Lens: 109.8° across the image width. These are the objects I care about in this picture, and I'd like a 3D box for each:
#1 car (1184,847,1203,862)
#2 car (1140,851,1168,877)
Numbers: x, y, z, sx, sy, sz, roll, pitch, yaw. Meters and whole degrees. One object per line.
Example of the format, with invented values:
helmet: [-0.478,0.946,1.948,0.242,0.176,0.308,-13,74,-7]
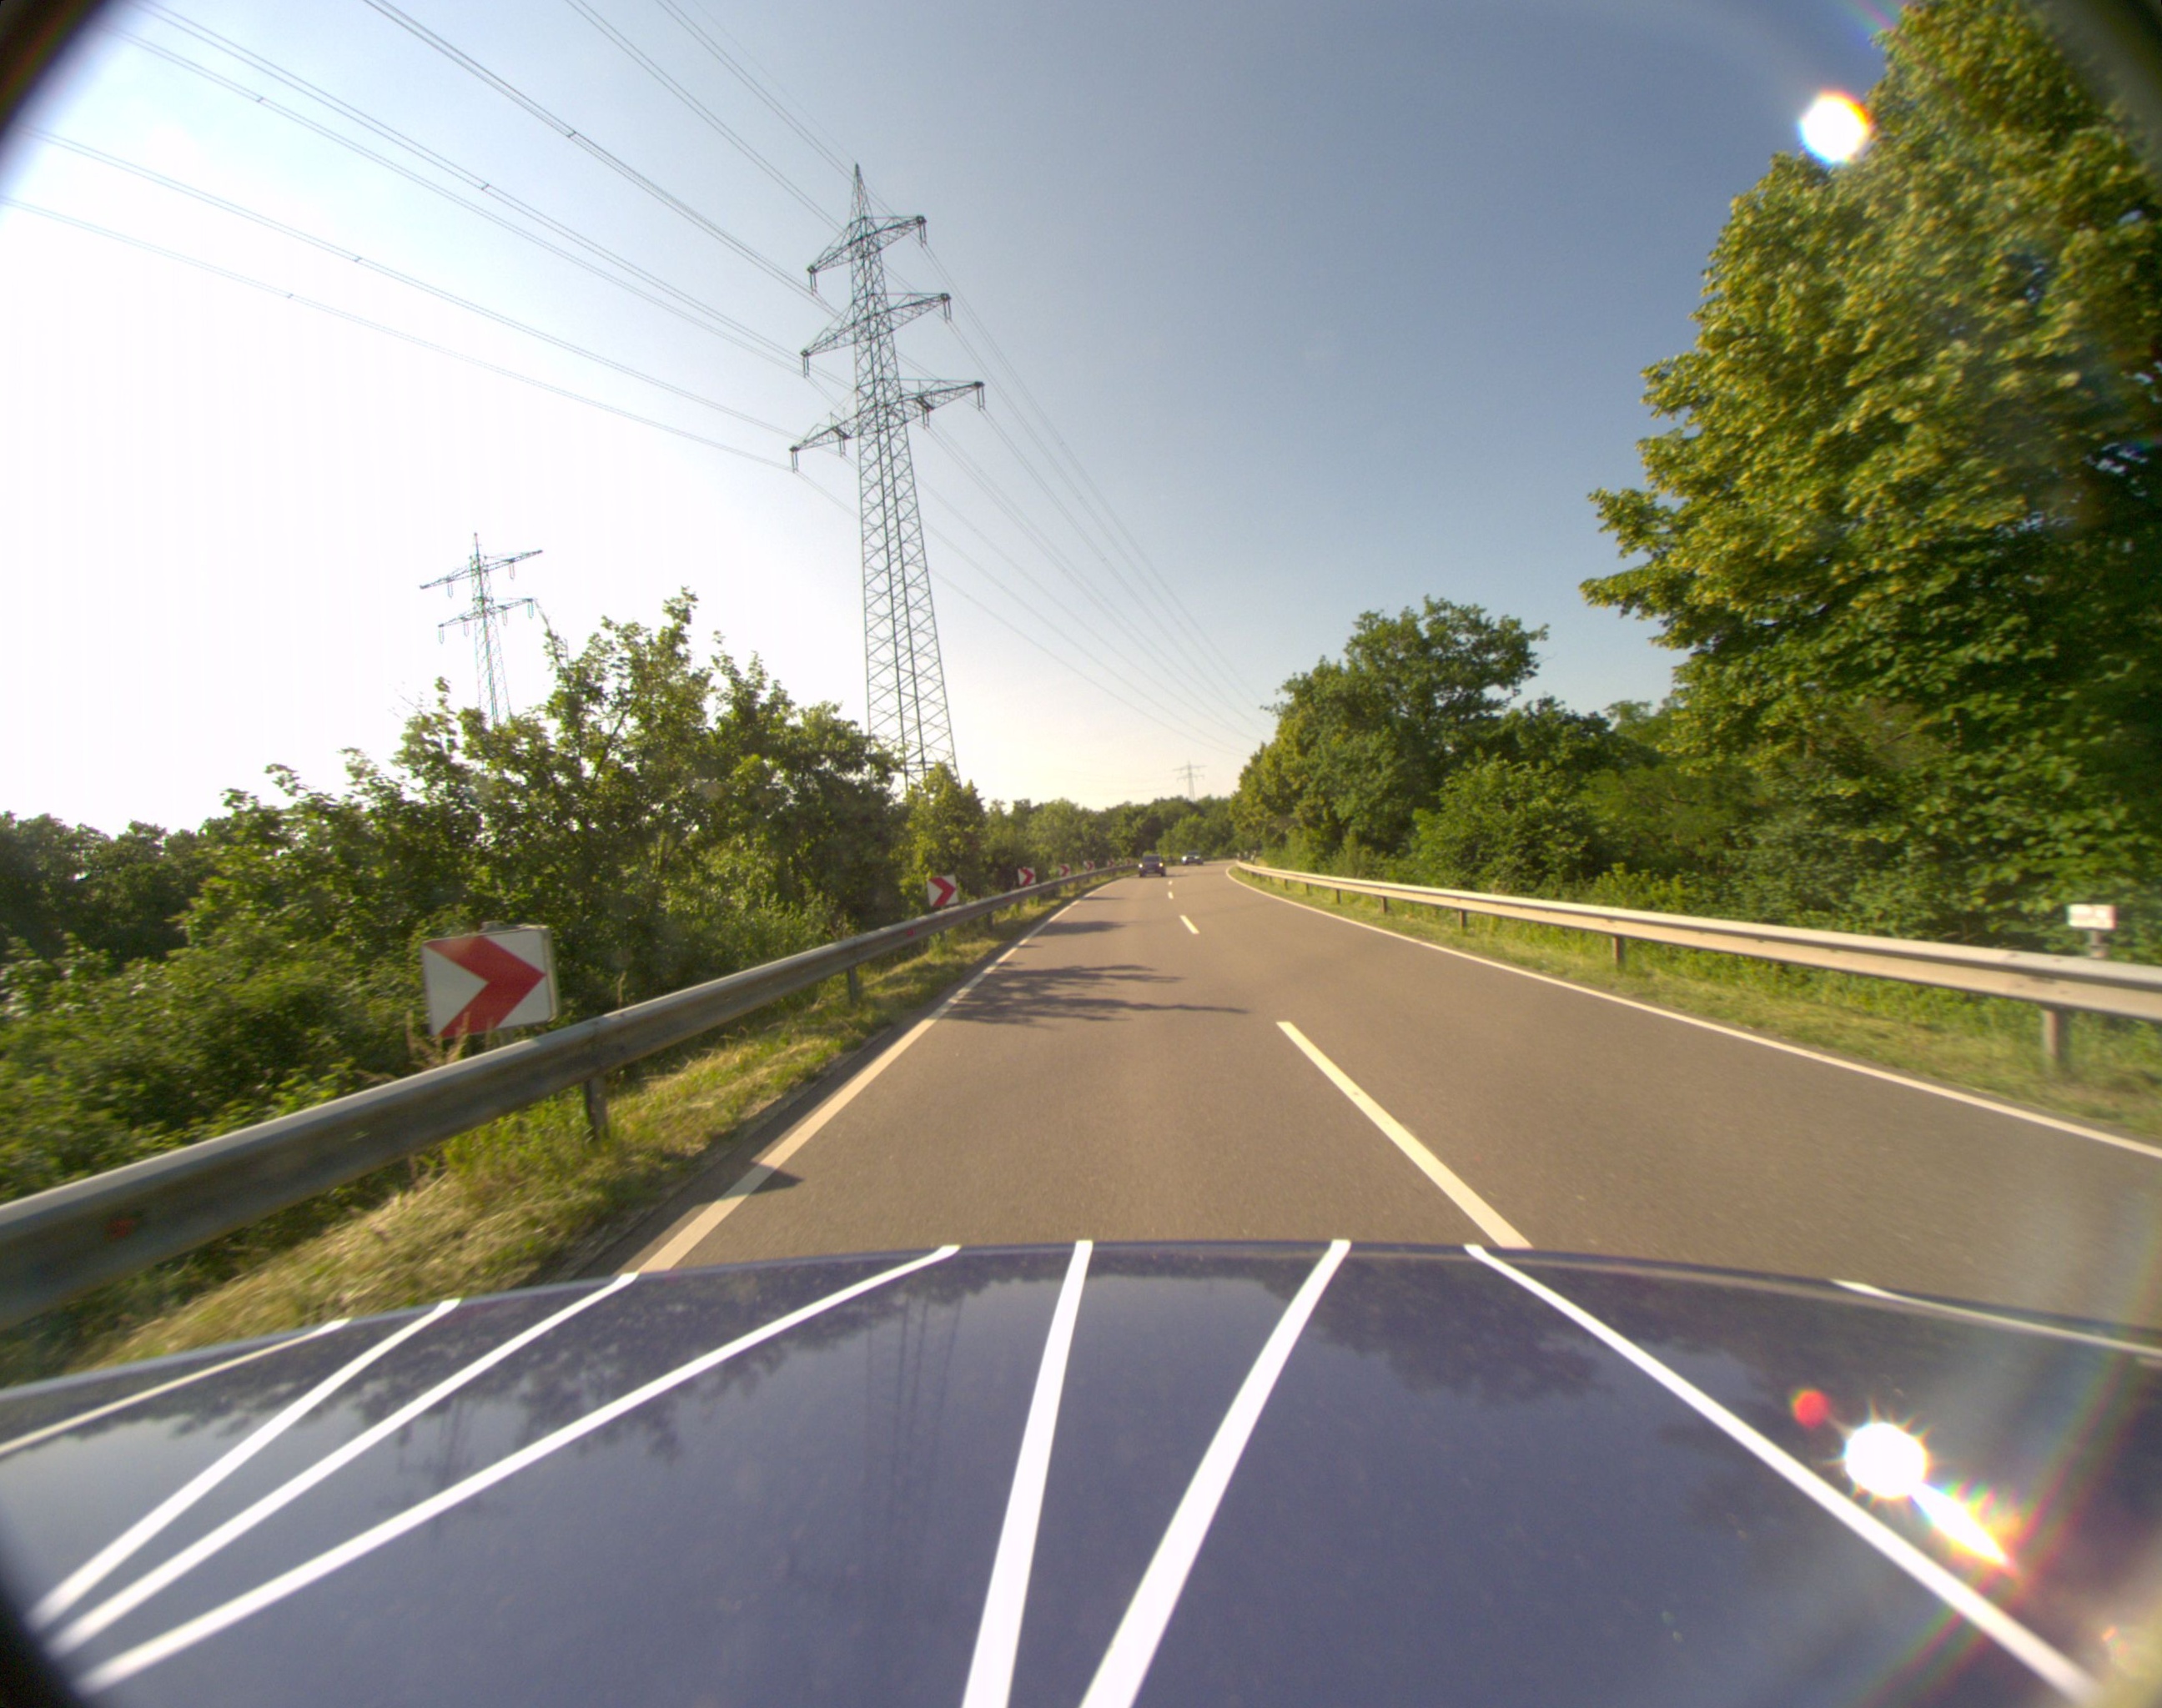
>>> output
car: [12.768,0.048,86.143,1.605,1.486,4.004,-2,1,16]
car: [4.995,0.647,51.459,1.606,1.486,4.002,-3,1,9]
